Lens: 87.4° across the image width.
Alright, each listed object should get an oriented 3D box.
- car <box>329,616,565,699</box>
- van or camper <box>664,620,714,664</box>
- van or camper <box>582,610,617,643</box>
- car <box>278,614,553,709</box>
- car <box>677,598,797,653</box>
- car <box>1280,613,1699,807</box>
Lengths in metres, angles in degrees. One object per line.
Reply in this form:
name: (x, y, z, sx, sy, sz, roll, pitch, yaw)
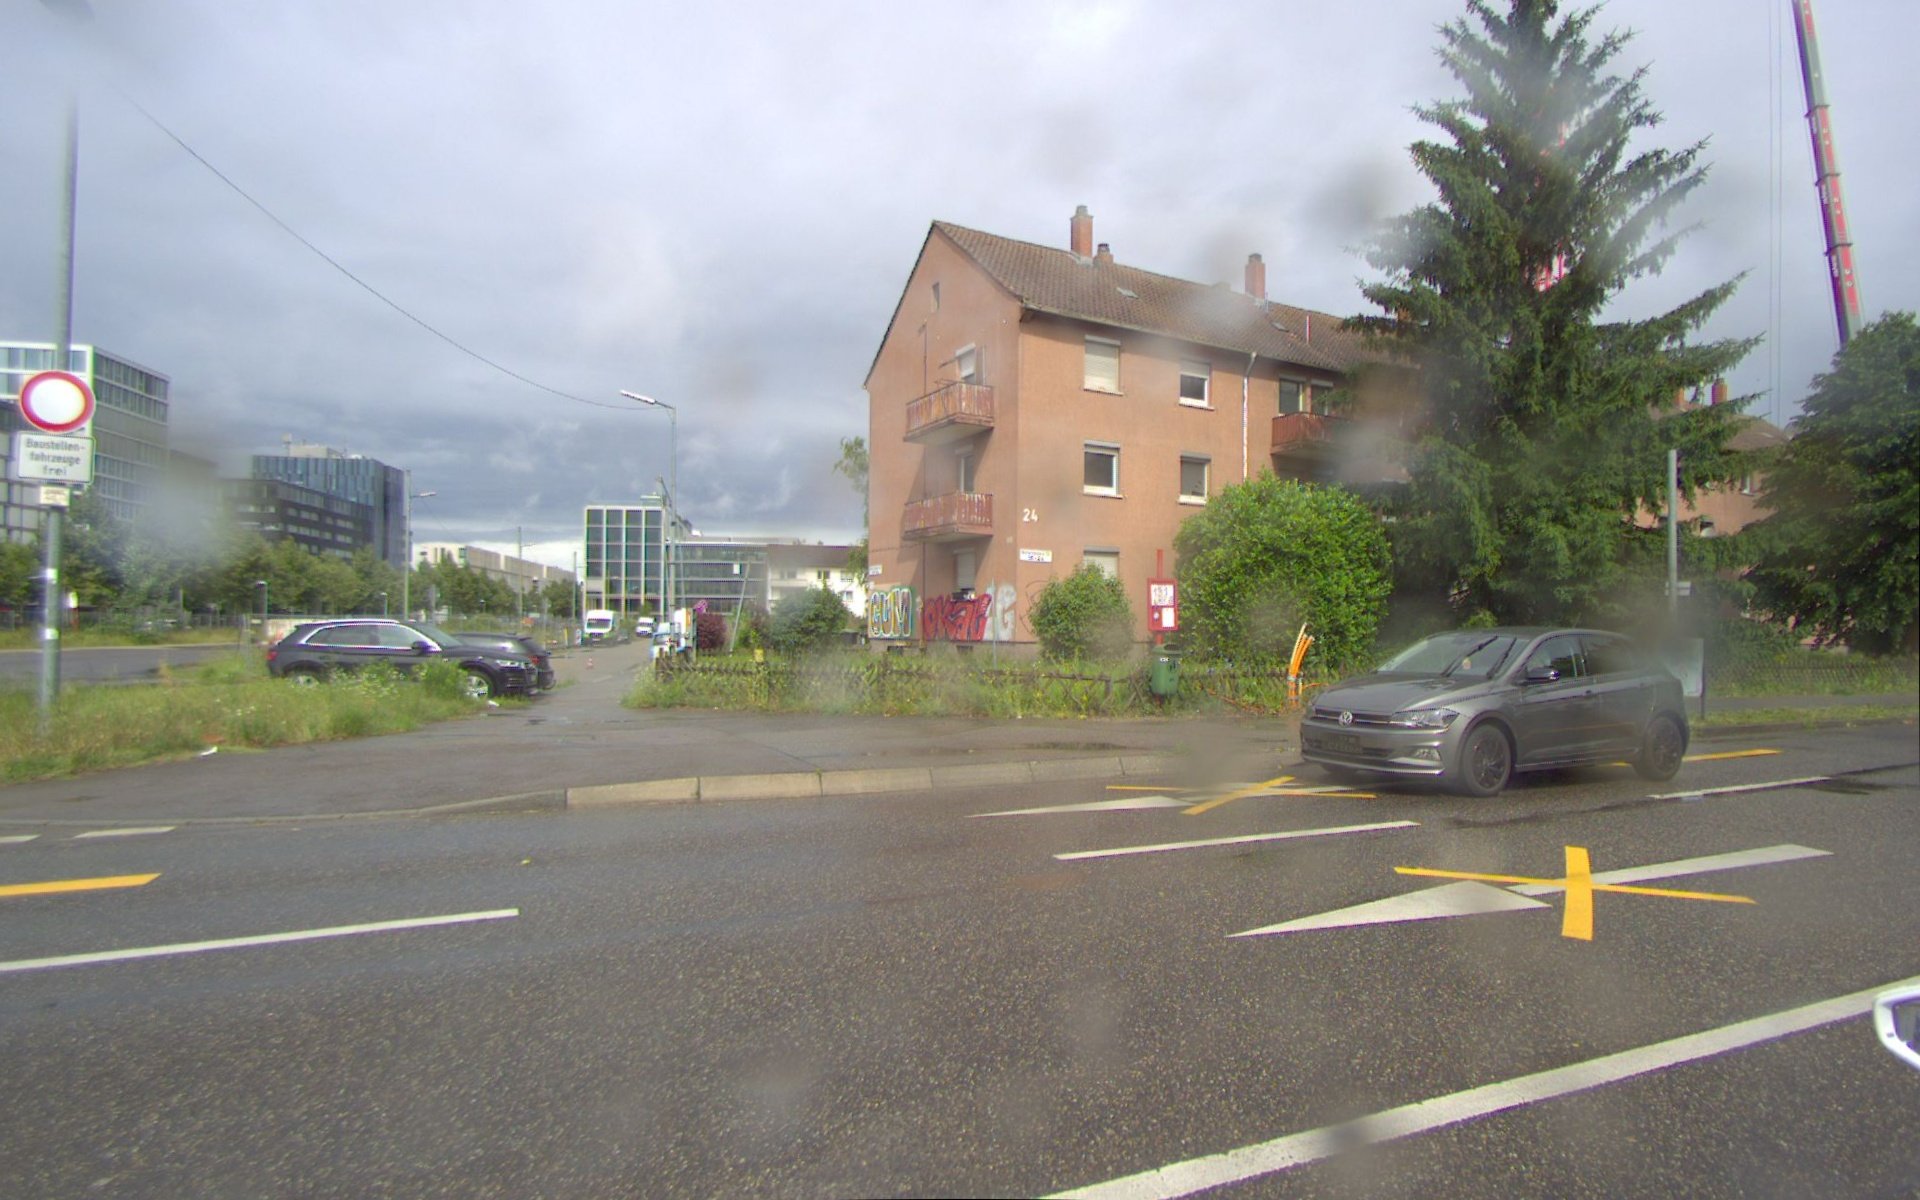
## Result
car: (-10.699, 1.185, 21.296, 4.191, 1.639, 1.753, 1, -1, -18)
van or camper: (-15.290, 2.320, 56.930, 1.963, 2.304, 5.910, 1, -1, -8)
van or camper: (-26.556, 1.948, 74.162, 1.967, 2.341, 4.869, 1, -1, -15)
car: (-10.036, 1.116, 18.911, 4.259, 1.639, 1.753, 1, -1, -18)
car: (-8.523, 0.993, 38.648, 4.238, 2.045, 1.716, 0, -1, -2)
car: (5.053, 0.925, 9.557, 3.744, 1.528, 1.674, 1, -2, -27)
